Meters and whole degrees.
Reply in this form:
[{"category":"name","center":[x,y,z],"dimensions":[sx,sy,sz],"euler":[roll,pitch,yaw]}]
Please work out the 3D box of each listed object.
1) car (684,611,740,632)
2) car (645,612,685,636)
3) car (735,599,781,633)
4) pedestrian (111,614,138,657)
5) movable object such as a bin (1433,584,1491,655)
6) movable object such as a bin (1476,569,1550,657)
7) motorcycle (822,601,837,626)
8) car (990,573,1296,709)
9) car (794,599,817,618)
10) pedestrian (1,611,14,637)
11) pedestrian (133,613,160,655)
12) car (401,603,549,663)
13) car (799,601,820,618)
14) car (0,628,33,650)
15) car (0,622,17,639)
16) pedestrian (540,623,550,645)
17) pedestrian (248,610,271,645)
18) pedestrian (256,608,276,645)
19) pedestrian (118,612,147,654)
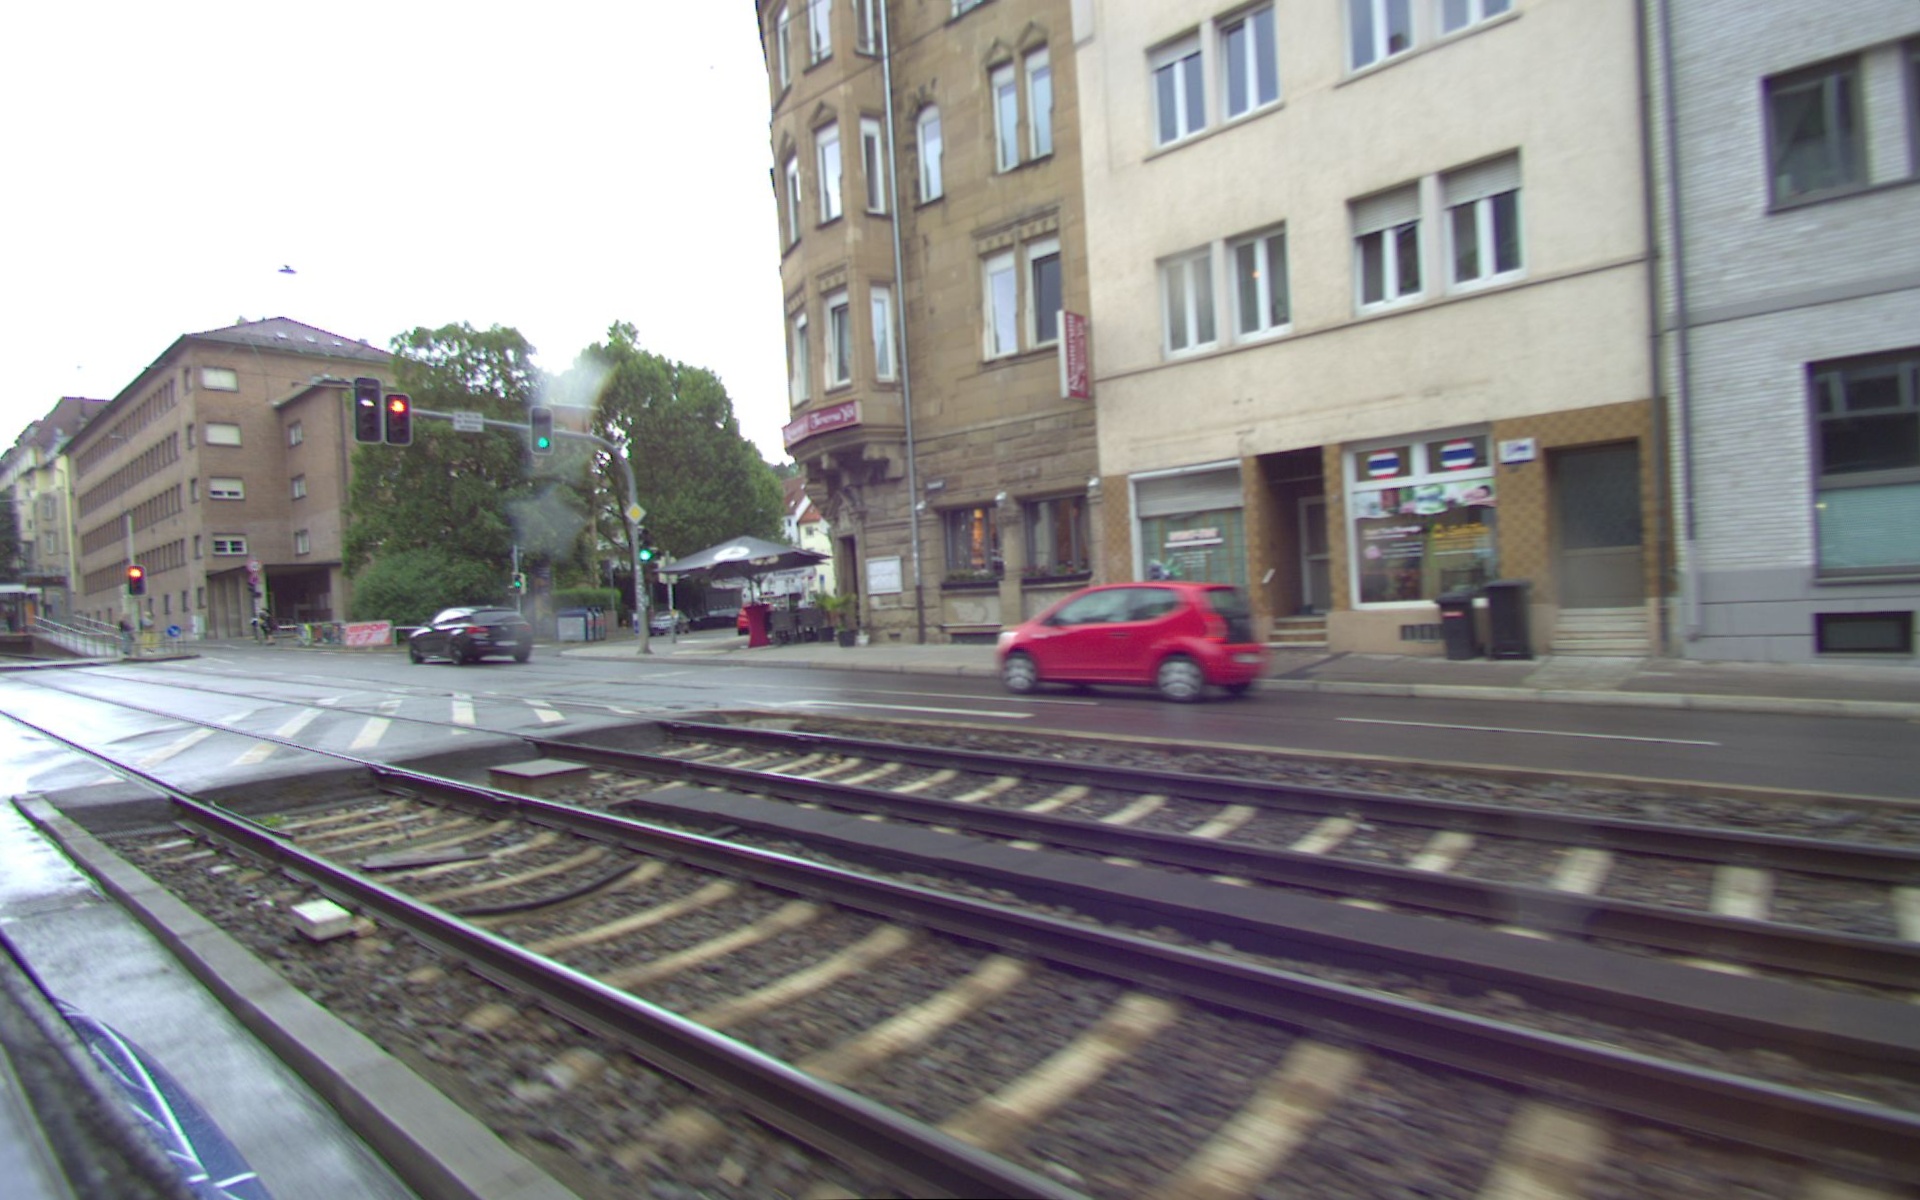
[{"category":"car","center":[-19.134,1.639,78.132],"dimensions":[3.939,1.489,1.744],"euler":[-1,-1,-5]},{"category":"car","center":[-17.993,1.435,61.890],"dimensions":[1.715,1.413,4.006],"euler":[-1,-1,-7]},{"category":"car","center":[-9.028,0.721,45.363],"dimensions":[1.715,1.413,4.006],"euler":[-1,-1,-7]},{"category":"pedestrian","center":[-34.409,1.441,41.679],"dimensions":[0.688,1.711,0.658],"euler":[-1,2,39]},{"category":"movable object such as a bin","center":[6.910,0.267,13.928],"dimensions":[0.560,0.917,0.588],"euler":[-2,3,41]},{"category":"movable object such as a bin","center":[7.349,0.171,13.444],"dimensions":[0.687,1.082,0.706],"euler":[-2,3,41]},{"category":"motorcycle","center":[-6.866,0.715,53.408],"dimensions":[0.737,1.265,1.862],"euler":[-1,-1,-6]},{"category":"car","center":[2.277,0.488,13.042],"dimensions":[3.518,1.508,1.663],"euler":[-2,-1,42]},{"category":"car","center":[-12.029,0.696,78.981],"dimensions":[1.715,1.413,4.006],"euler":[-1,-1,-7]},{"category":"pedestrian","center":[-64.212,1.589,68.242],"dimensions":[0.491,1.722,0.581],"euler":[-2,-1,40]},{"category":"pedestrian","center":[-33.228,1.383,41.340],"dimensions":[0.640,1.659,0.736],"euler":[-2,0,42]},{"category":"car","center":[-12.437,0.836,25.857],"dimensions":[4.272,1.407,1.927],"euler":[-2,-1,42]},{"category":"car","center":[-13.469,0.866,90.795],"dimensions":[1.715,1.413,4.006],"euler":[-1,-1,-7]},{"category":"car","center":[-73.824,3.050,78.691],"dimensions":[5.251,1.640,1.972],"euler":[-2,-2,42]},{"category":"car","center":[-89.623,2.888,94.790],"dimensions":[3.111,1.477,1.627],"euler":[-2,0,43]},{"category":"pedestrian","center":[-20.828,1.683,50.806],"dimensions":[0.411,1.093,0.283],"euler":[-1,-1,-25]},{"category":"pedestrian","center":[-34.138,1.326,49.308],"dimensions":[0.648,1.663,0.757],"euler":[-2,-1,40]},{"category":"pedestrian","center":[-32.081,1.216,46.767],"dimensions":[0.688,1.688,0.598],"euler":[-2,-1,39]},{"category":"pedestrian","center":[-34.911,1.391,42.682],"dimensions":[0.882,1.709,0.736],"euler":[-1,2,40]}]
